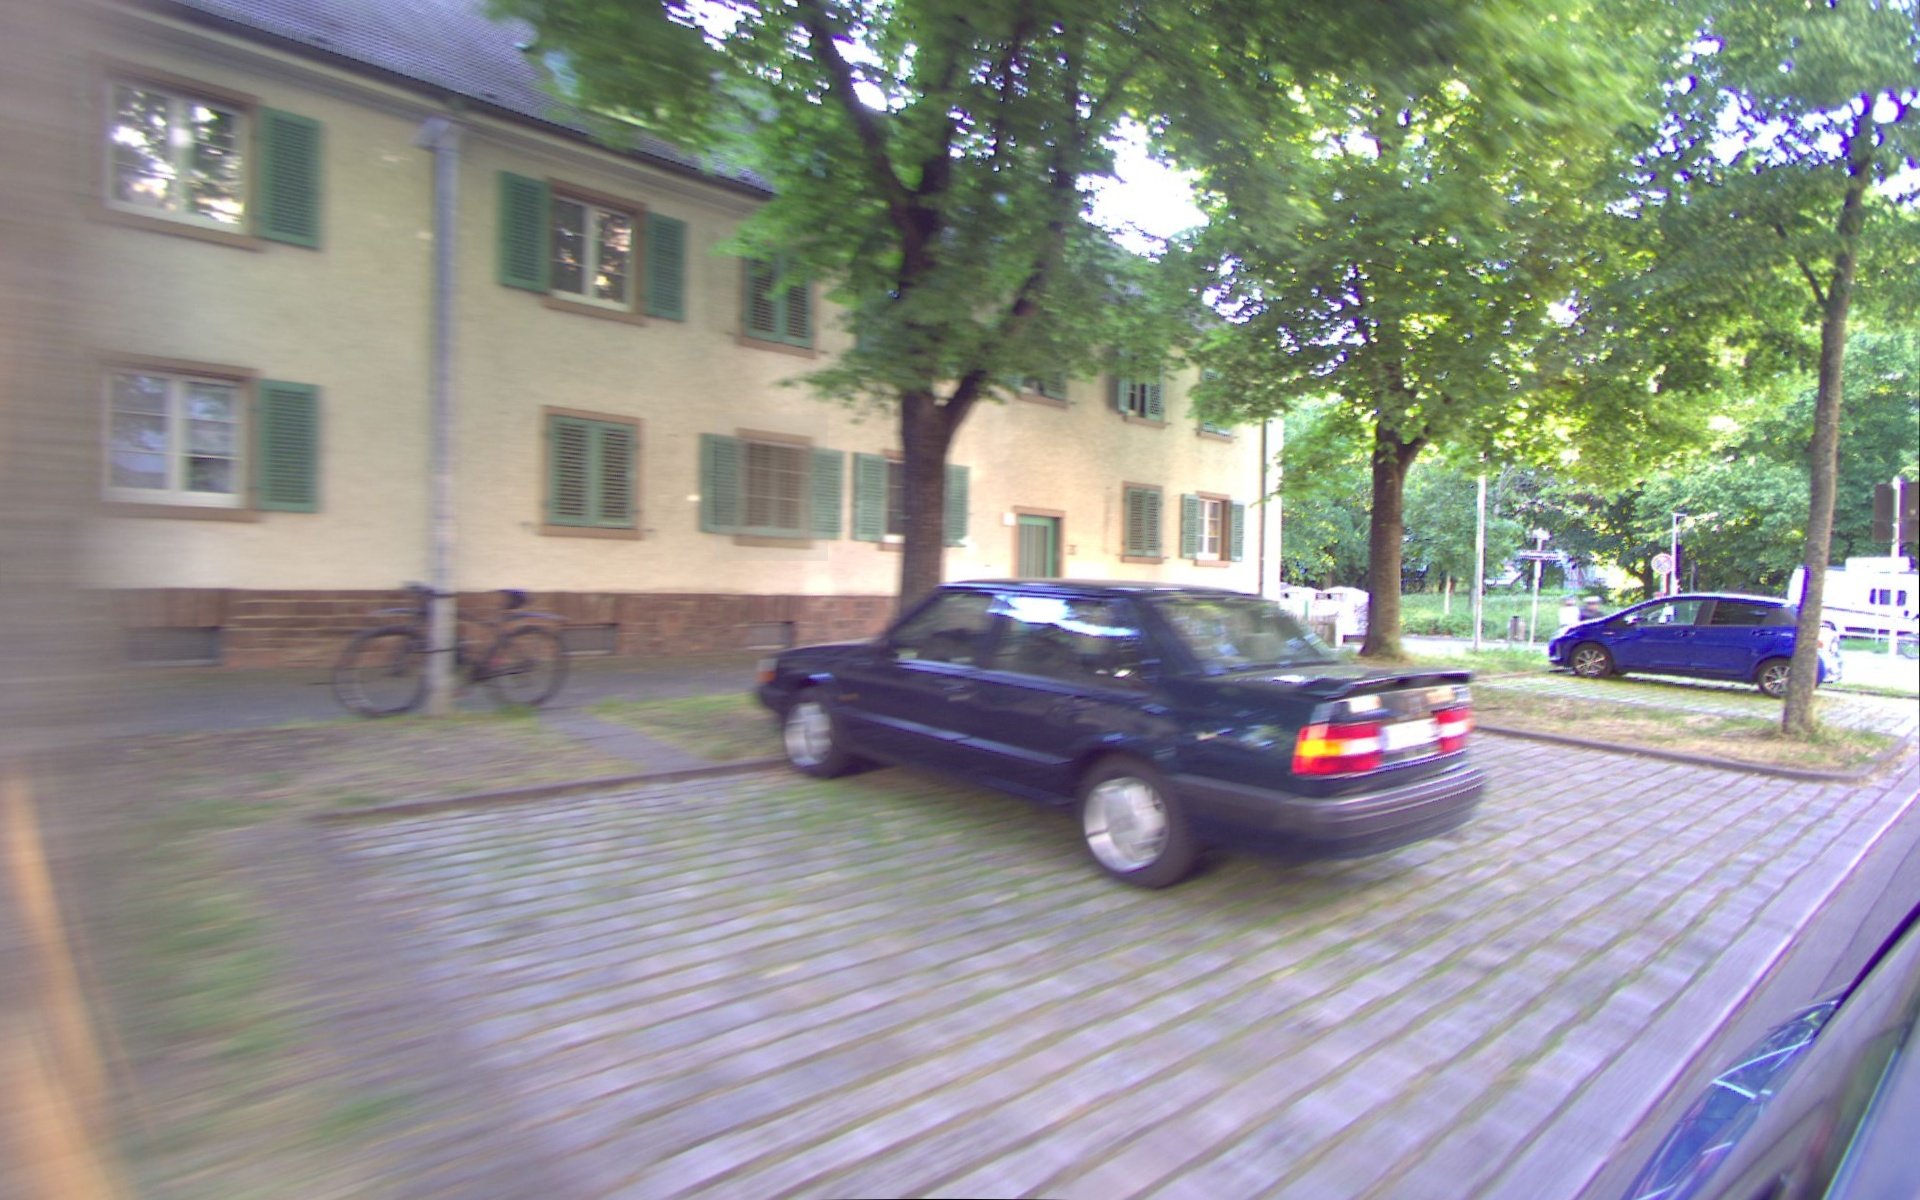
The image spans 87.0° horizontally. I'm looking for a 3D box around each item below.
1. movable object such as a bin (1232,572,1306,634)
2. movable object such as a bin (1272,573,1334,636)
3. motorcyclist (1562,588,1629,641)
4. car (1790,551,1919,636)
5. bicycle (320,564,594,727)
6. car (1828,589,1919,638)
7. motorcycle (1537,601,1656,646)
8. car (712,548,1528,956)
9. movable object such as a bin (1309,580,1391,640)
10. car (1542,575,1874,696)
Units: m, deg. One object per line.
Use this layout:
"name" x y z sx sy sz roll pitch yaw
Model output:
"movable object such as a bin" 9.832 0.061 32.191 1.890 1.876 1.394 -1 2 -34
"movable object such as a bin" 10.469 0.110 30.887 1.129 1.850 1.387 -1 2 -34
"motorcyclist" 16.925 0.380 26.961 0.967 1.357 1.228 0 0 -35
"car" 30.770 -0.234 32.889 2.201 2.646 5.621 -1 2 -42
"bicycle" -4.035 0.326 8.259 0.627 1.177 1.906 1 0 41
"car" 32.727 0.458 34.683 1.945 1.594 4.292 -1 2 -42
"motorcycle" 16.932 0.601 26.996 0.967 1.116 2.519 0 1 -35
"car" 0.521 0.472 6.318 1.910 1.459 4.902 -1 4 -42
"movable object such as a bin" 11.414 0.258 29.614 1.561 1.678 1.641 -1 2 -34
"car" 11.956 0.444 16.358 1.967 1.574 3.993 -1 4 -43
